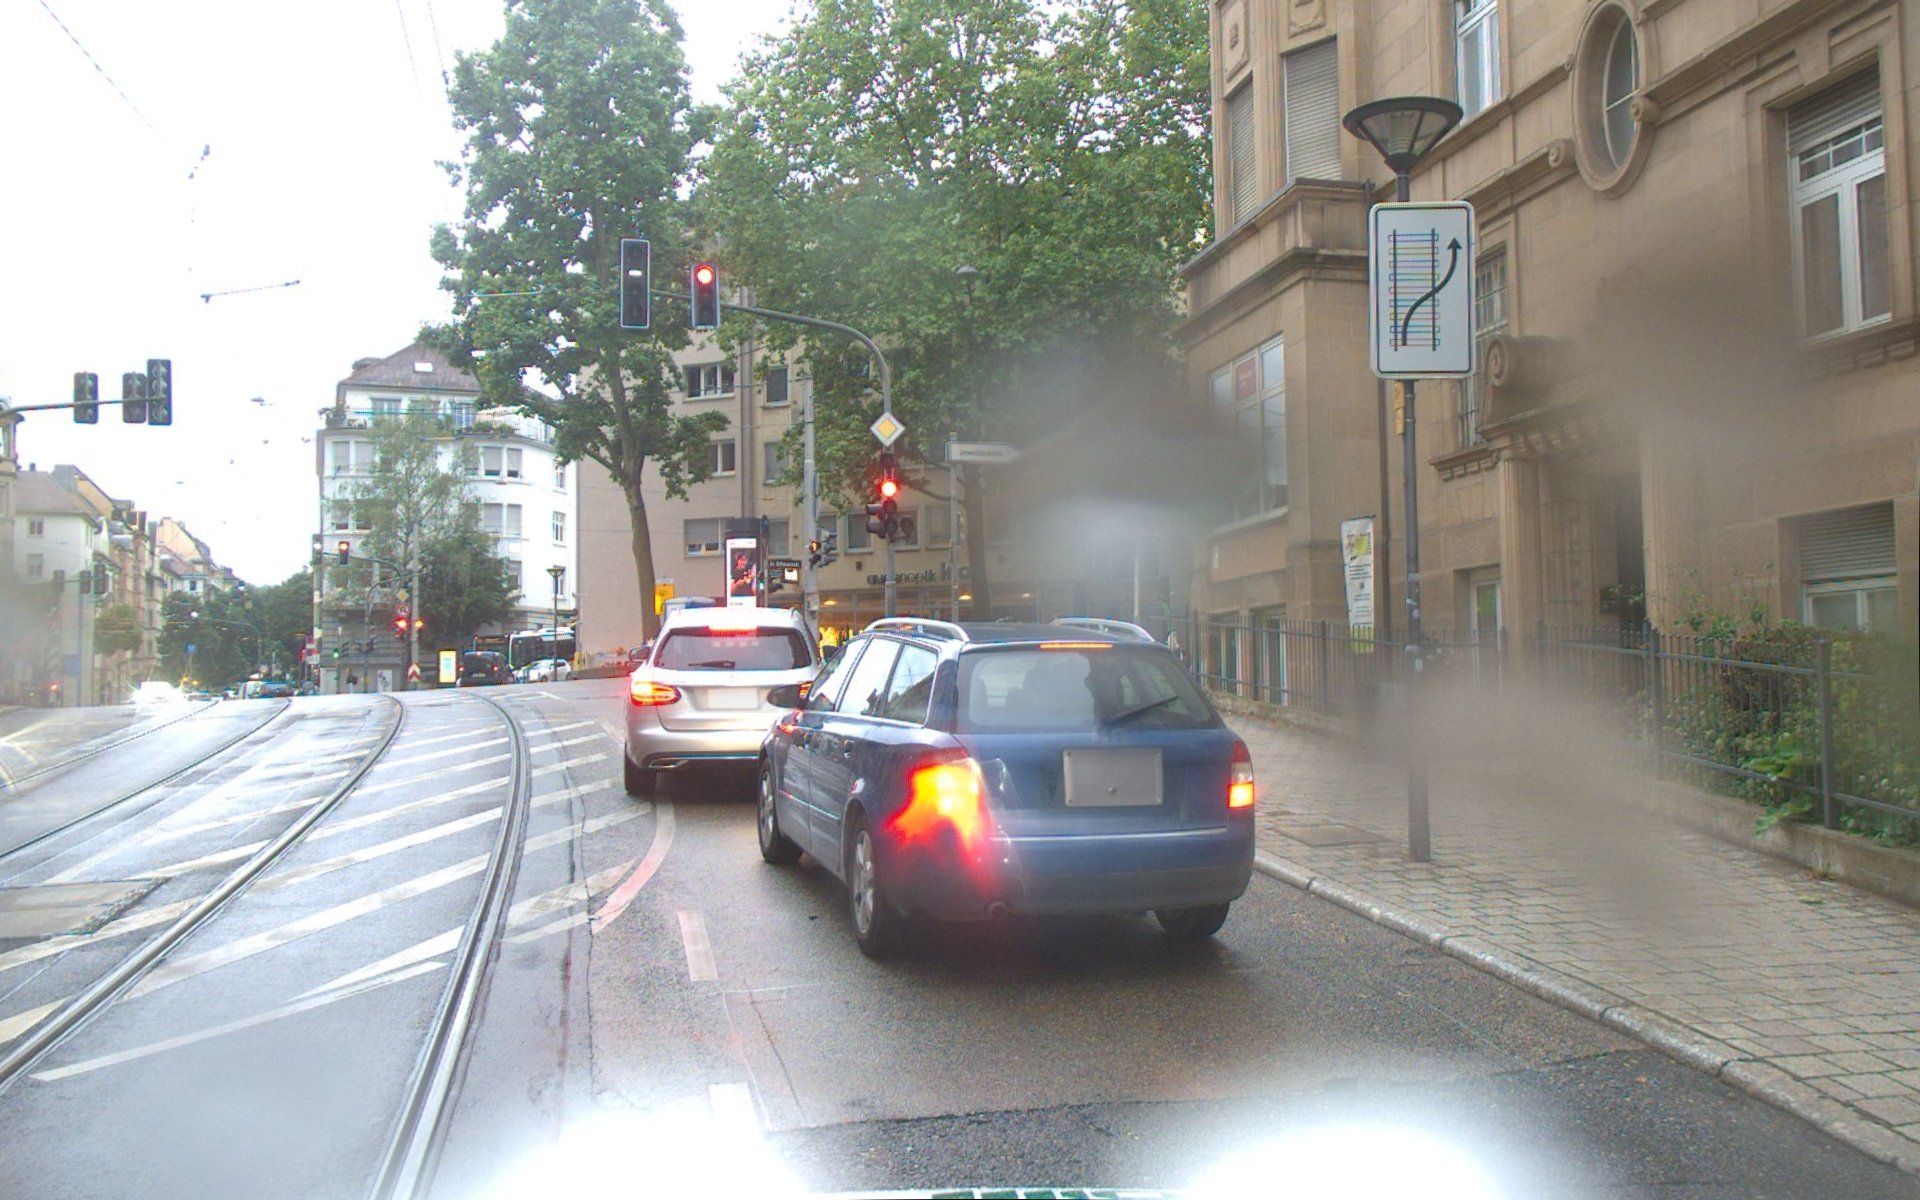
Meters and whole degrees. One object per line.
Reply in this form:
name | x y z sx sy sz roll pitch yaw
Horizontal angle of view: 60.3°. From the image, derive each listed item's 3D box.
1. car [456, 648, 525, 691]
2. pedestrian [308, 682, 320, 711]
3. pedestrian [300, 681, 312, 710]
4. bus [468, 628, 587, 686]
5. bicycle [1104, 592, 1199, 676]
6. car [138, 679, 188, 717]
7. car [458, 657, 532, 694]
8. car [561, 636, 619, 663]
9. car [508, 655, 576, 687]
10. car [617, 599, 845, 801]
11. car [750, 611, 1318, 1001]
car | -19.479 2.853 68.746 1.758 1.536 3.998 -3 0 -2
pedestrian | -37.505 5.598 96.039 0.639 1.690 0.646 0 -1 -21
pedestrian | -38.983 5.712 98.572 0.639 1.690 0.646 0 -1 -21
bus | -24.747 3.206 95.152 2.793 2.911 8.740 -1 0 13
bicycle | 2.888 0.506 24.984 1.278 1.194 0.524 -3 0 -13
car | -37.844 4.640 78.485 1.776 1.537 4.617 -1 0 -30
car | -23.717 3.839 84.460 1.756 1.642 4.002 -1 0 17
car | -23.083 3.060 103.319 1.756 1.537 4.002 -1 0 17
car | -22.492 3.818 89.141 1.756 1.537 4.002 -1 0 17
car | -1.946 0.742 14.125 1.678 1.481 3.546 0 0 -8
car | 0.094 0.800 8.475 1.683 1.440 4.017 0 0 -17
